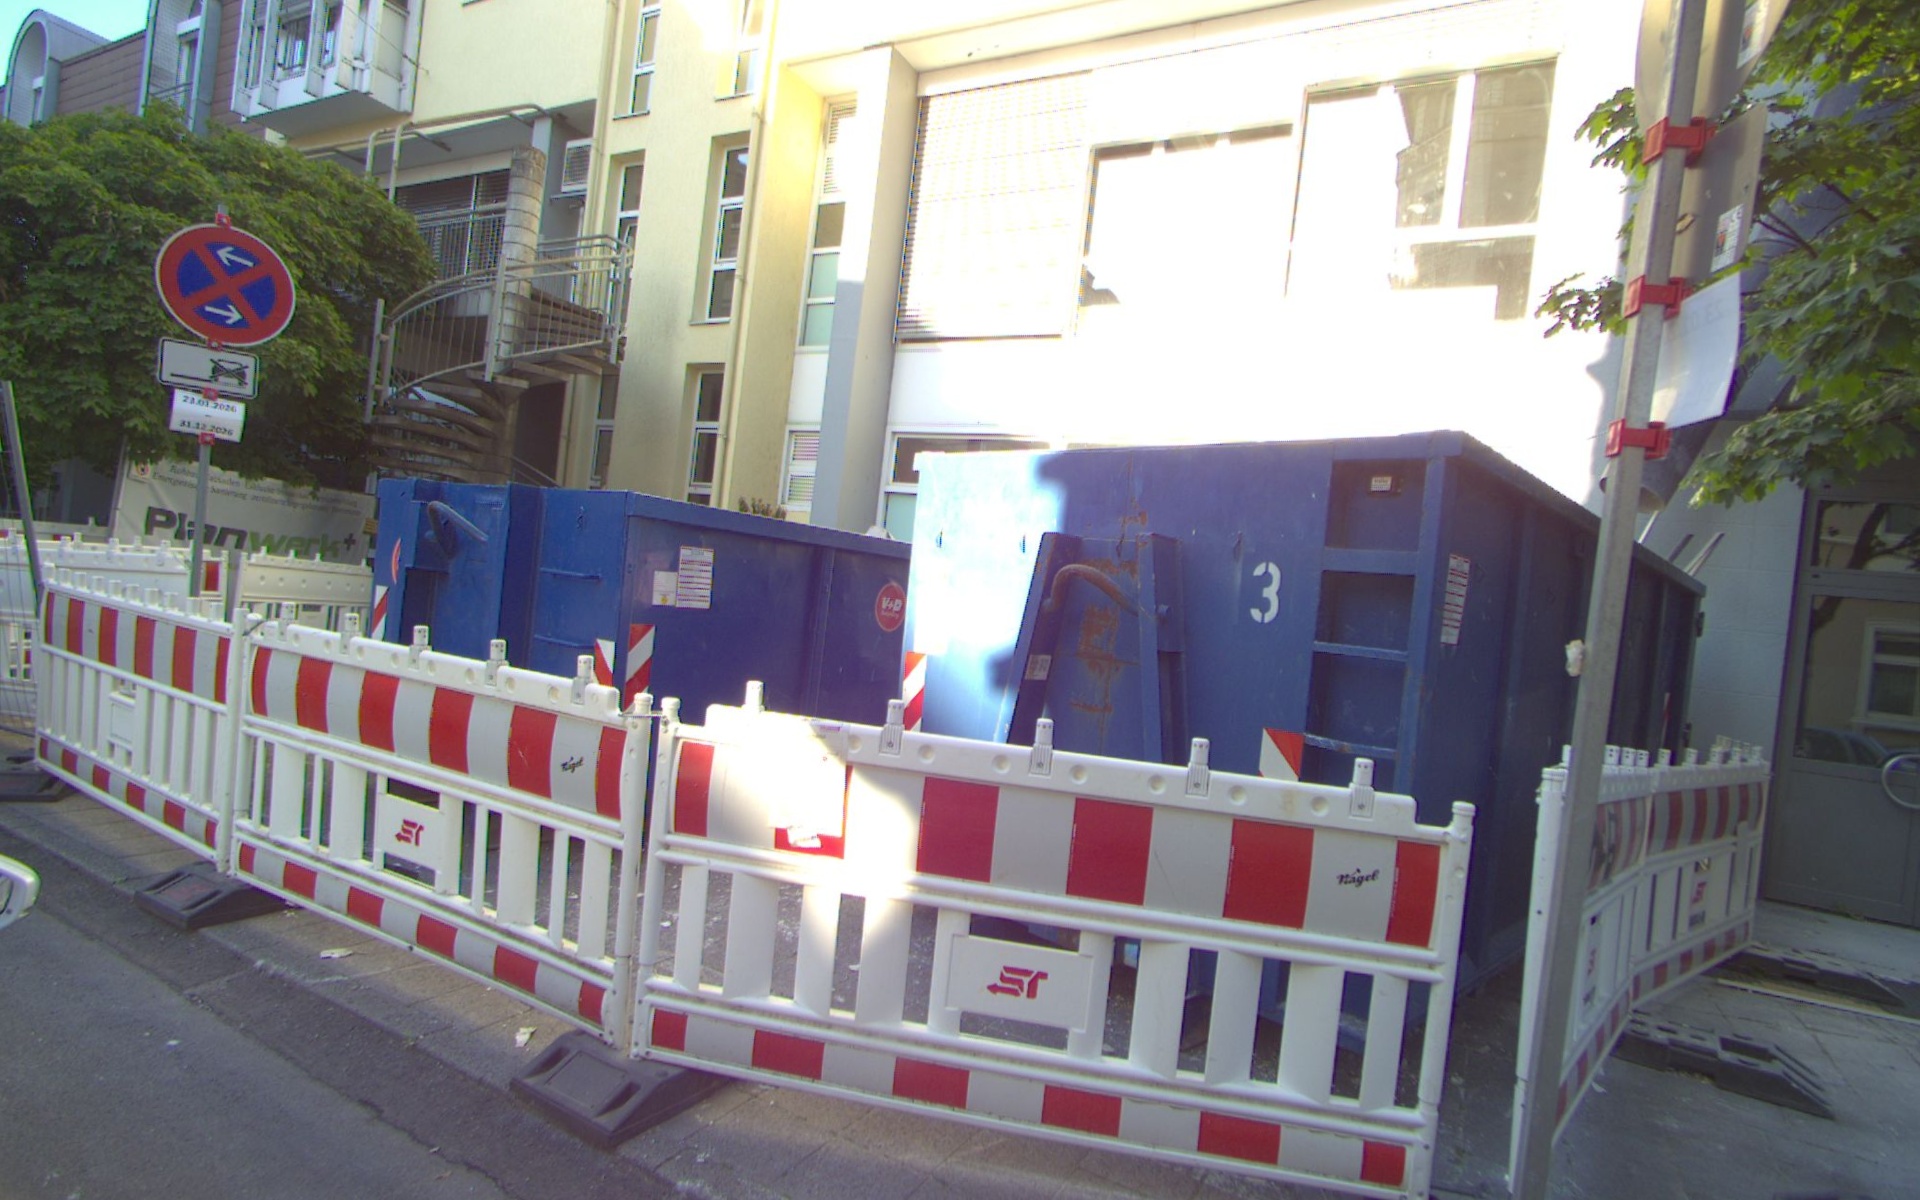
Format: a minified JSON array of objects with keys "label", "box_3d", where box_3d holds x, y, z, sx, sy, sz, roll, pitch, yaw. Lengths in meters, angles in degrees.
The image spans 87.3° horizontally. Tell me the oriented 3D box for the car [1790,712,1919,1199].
[{"label":"car","box_3d":[2.949,1.120,0.489,3.668,1.495,1.677,7,1,32]}]
